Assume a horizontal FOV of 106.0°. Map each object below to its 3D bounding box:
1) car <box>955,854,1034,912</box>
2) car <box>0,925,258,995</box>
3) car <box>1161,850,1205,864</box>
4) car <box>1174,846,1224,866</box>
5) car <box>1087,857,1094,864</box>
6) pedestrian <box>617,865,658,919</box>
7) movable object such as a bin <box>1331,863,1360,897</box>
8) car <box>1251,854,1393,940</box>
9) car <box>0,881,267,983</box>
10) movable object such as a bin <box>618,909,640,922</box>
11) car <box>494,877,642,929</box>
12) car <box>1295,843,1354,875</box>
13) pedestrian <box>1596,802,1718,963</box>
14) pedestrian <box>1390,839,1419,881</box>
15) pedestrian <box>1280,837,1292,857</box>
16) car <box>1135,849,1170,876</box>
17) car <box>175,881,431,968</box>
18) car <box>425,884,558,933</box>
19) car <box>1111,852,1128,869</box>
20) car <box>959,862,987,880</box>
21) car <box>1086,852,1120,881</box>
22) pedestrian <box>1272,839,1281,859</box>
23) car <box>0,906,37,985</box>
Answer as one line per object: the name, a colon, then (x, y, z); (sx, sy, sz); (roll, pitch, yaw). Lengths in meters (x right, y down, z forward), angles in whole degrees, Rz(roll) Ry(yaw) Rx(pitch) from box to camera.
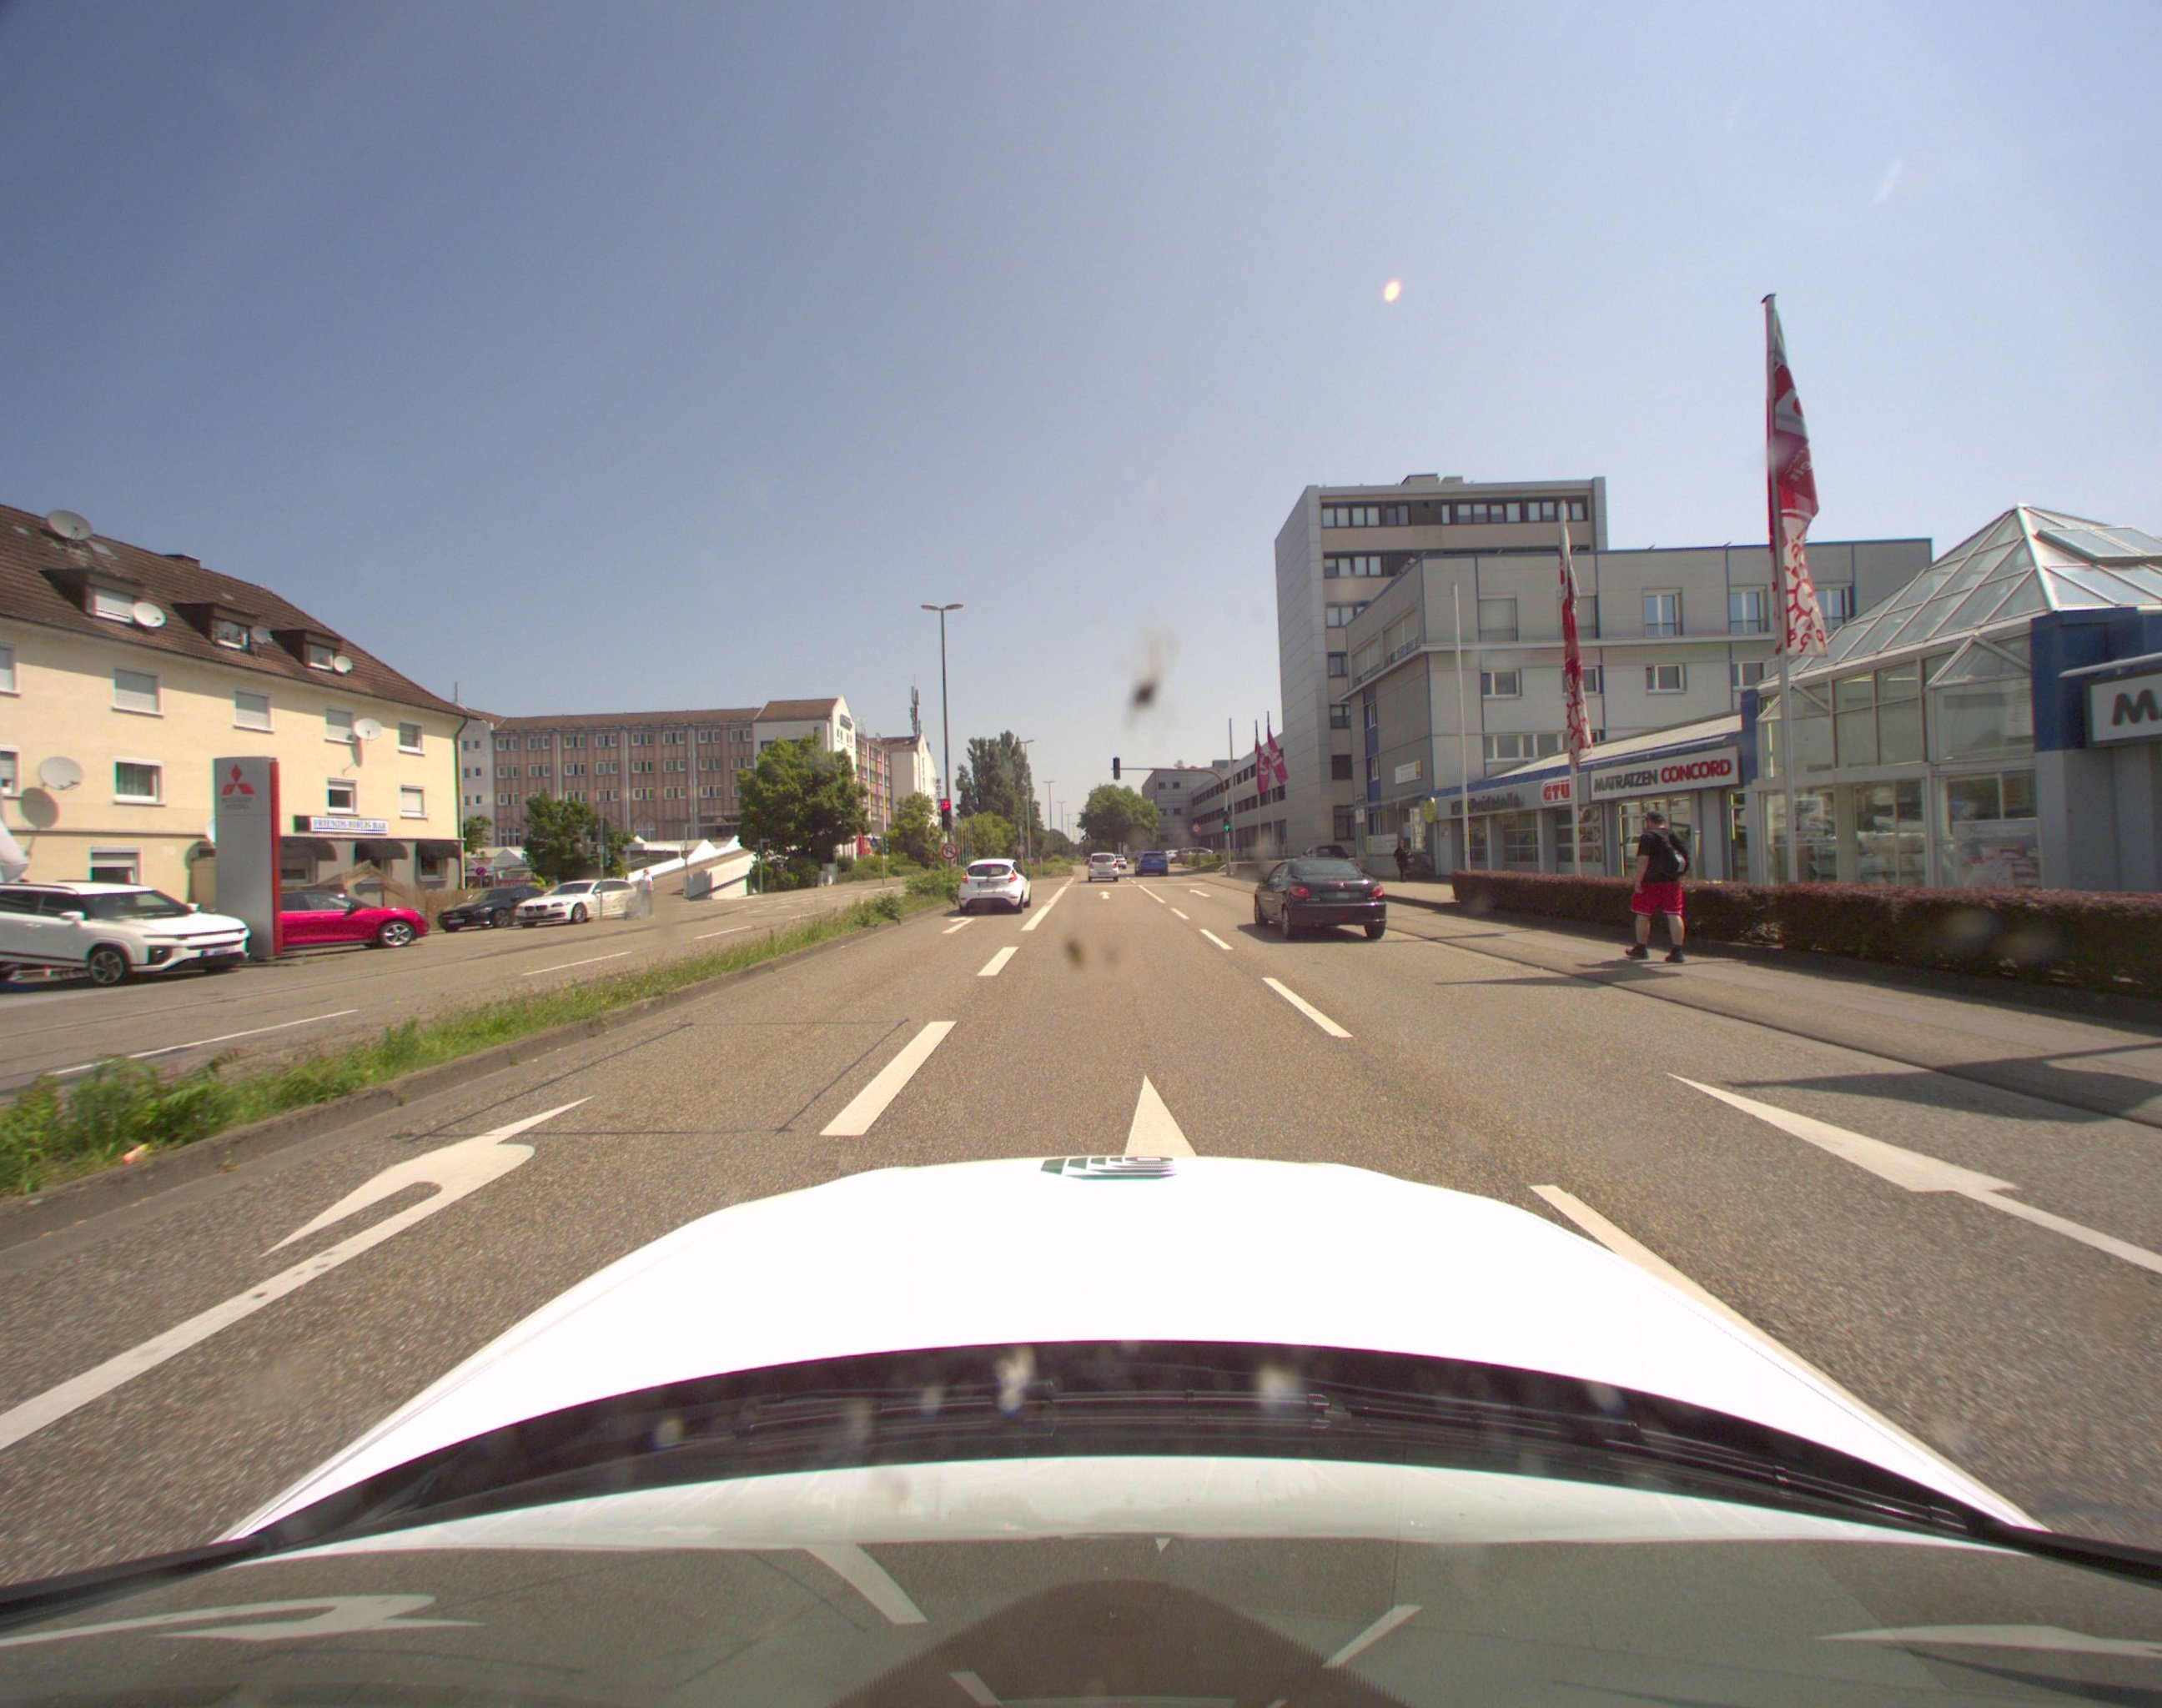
car: (-2.320, 0.740, 22.733); (1.682, 1.434, 3.712); (-2, 0, 1)
car: (-24.493, 2.666, 21.141); (1.631, 1.252, 4.022); (-3, 0, 22)
car: (11.557, 0.348, 92.308); (4.604, 1.390, 1.997); (-3, 0, -4)
car: (11.070, 0.203, 76.652); (4.250, 1.689, 1.997); (-3, 0, -4)
car: (2.609, 1.783, 218.123); (1.814, 1.662, 3.999); (-2, 0, 0)
pedestrian: (-15.001, 1.279, 27.562); (0.737, 1.747, 1.034); (-2, 0, 3)
movable object such as a bin: (7.574, 0.732, 23.369); (0.549, 0.919, 0.653); (-5, 0, 1)
car: (4.270, 0.696, 14.962); (1.621, 1.364, 3.607); (-1, 0, 2)
car: (-18.586, 1.425, 15.374); (4.533, 1.709, 1.759); (1, 0, -1)
movable object such as a bin: (-15.032, 2.042, 27.111); (0.415, 0.372, 0.507); (-2, 0, 2)
car: (-17.376, 1.613, 27.934); (1.768, 1.410, 4.764); (-2, 0, 4)
car: (12.296, 0.233, 41.383); (1.837, 1.531, 4.197); (-1, 0, 1)
pedestrian: (6.992, 0.333, 9.944); (0.782, 1.846, 0.937); (-2, 0, 3)
pedestrian: (12.899, 0.220, 32.510); (0.806, 1.627, 0.853); (-2, 0, 4)
pedestrian: (16.757, -0.575, 66.569); (0.523, 1.663, 0.752); (-3, 0, -17)
car: (4.505, 0.535, 51.863); (1.822, 1.580, 3.603); (-2, 0, -1)
car: (-18.522, 1.581, 19.560); (1.816, 1.642, 4.205); (-3, 0, 39)
car: (-20.348, 1.833, 28.342); (1.728, 1.351, 3.997); (-2, 0, -2)
car: (3.745, 0.625, 79.090); (1.552, 1.520, 3.609); (-2, 0, 4)
car: (-9.778, 1.530, 73.962); (1.988, 1.486, 4.497); (-3, 0, -2)
car: (1.197, 0.646, 44.223); (1.741, 1.520, 3.748); (-1, 0, 2)
pedestrian: (16.397, -0.390, 68.275); (0.589, 1.634, 0.524); (-3, 0, 9)
car: (-23.397, 1.918, 15.732); (3.974, 1.530, 1.865); (-2, 0, 0)
